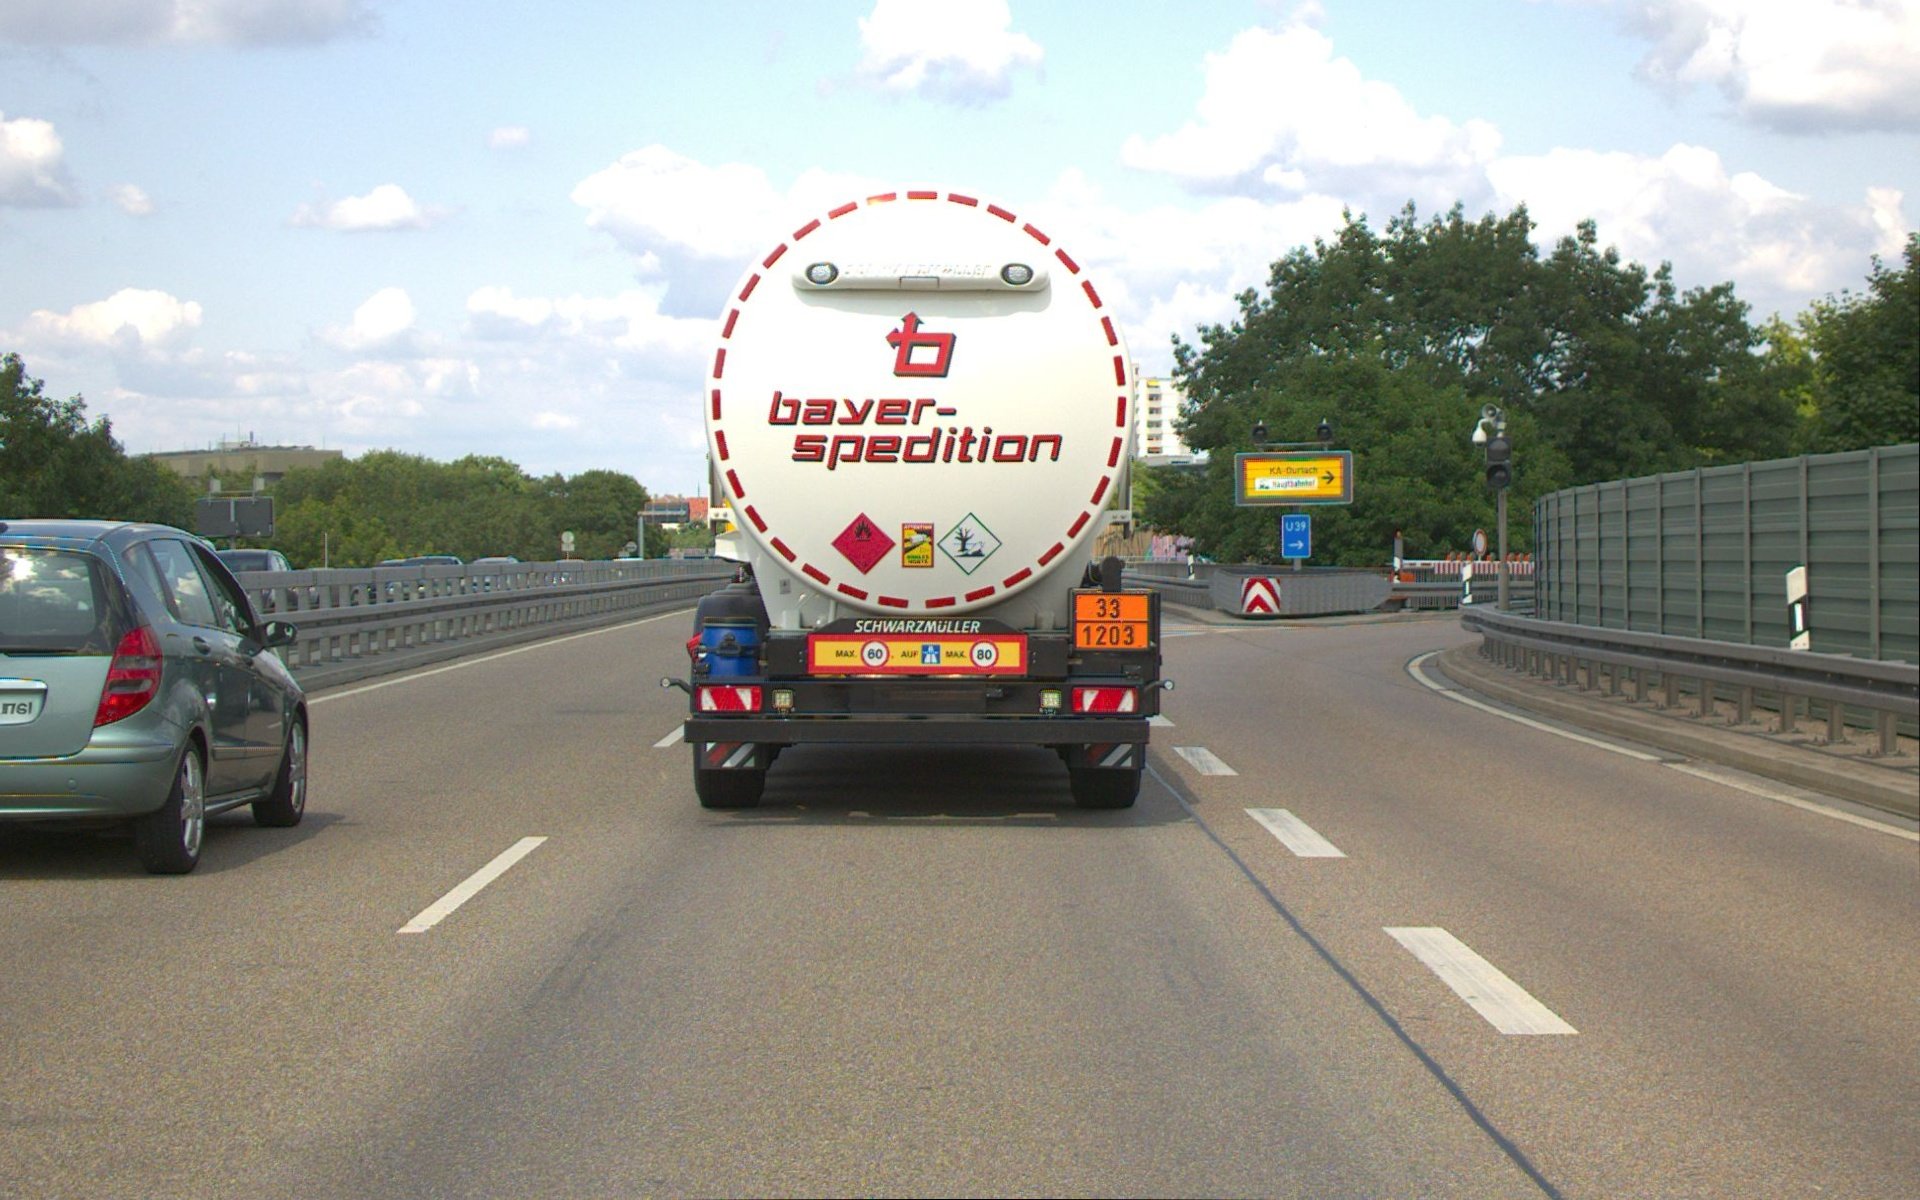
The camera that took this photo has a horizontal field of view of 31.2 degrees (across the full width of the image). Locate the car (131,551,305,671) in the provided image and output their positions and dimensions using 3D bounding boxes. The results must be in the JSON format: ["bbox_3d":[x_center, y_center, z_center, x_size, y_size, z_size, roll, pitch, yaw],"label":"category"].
[{"bbox_3d":[-12.019,0.141,55.950,1.993,1.850,4.239,1,1,-2],"label":"car"}]

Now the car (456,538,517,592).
[{"bbox_3d":[-15.898,-1.193,115.531,1.582,1.705,4.411,1,2,-2],"label":"car"}]

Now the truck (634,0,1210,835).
[{"bbox_3d":[-0.256,-1.042,21.617,2.895,4.354,8.030,1,1,-1],"label":"truck"}]

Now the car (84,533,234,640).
[{"bbox_3d":[-15.746,-0.310,67.813,1.960,1.918,5.192,1,2,-3],"label":"car"}]

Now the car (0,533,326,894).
[{"bbox_3d":[-4.289,0.448,16.584,1.747,1.526,4.000,0,1,-1],"label":"car"}]

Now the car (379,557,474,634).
[{"bbox_3d":[-12.165,-0.126,78.571,1.727,1.617,3.742,1,2,-2],"label":"car"}]
